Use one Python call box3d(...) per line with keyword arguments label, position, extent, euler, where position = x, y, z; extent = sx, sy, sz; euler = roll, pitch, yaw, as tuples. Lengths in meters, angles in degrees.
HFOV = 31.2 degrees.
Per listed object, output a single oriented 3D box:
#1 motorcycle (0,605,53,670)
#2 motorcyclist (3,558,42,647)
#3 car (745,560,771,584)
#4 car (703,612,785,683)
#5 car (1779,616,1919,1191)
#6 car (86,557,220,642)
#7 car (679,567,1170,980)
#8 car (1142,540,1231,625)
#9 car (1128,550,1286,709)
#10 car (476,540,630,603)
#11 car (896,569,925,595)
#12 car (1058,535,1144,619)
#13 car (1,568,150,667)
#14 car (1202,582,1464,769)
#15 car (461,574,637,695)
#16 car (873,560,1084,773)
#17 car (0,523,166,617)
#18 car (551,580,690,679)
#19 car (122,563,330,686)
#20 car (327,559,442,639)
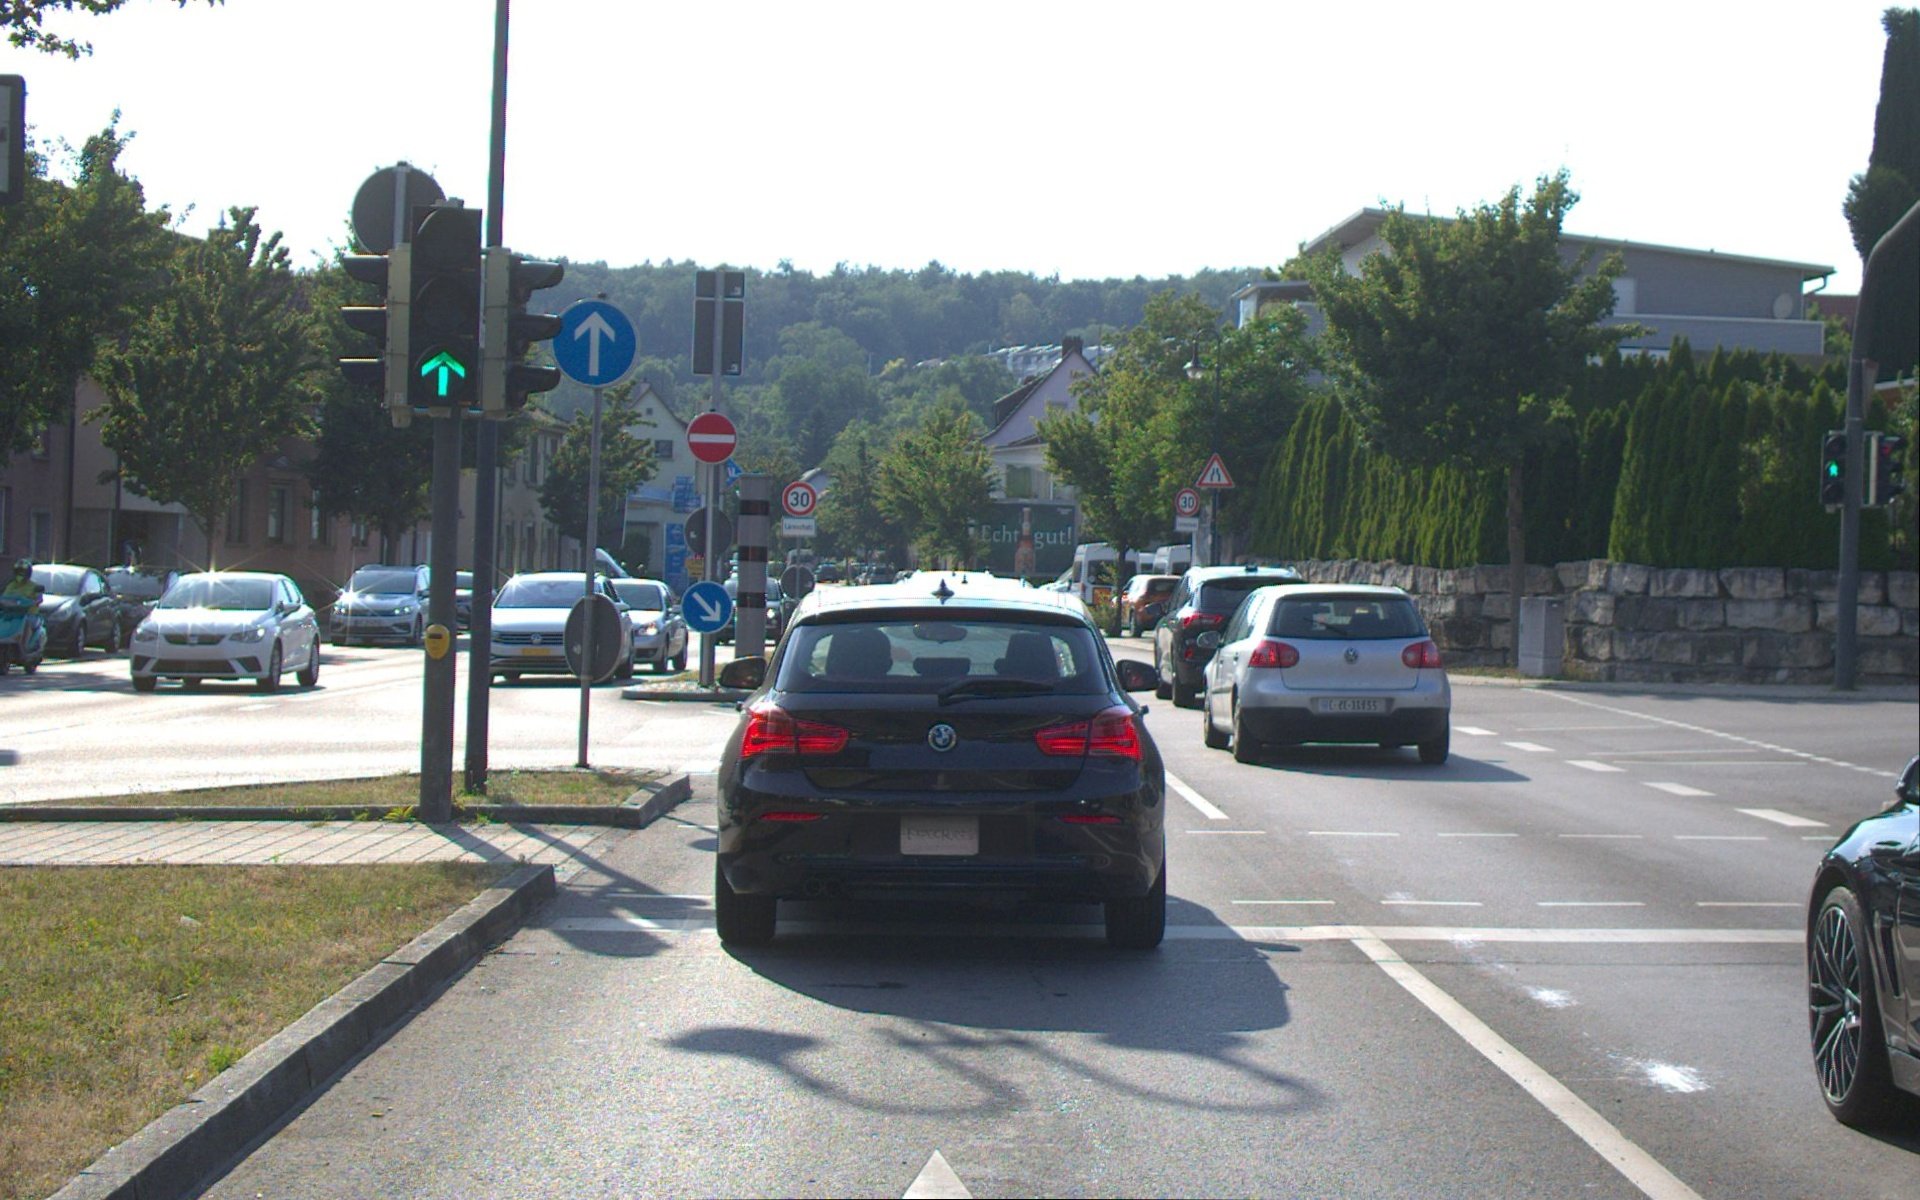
box3d(label="motorcycle", position=(-13.073, 0.513, 47.815), extent=(0.412, 0.857, 1.763), euler=(1, 1, 1))
box3d(label="motorcyclist", position=(-13.072, 0.036, 47.947), extent=(0.403, 1.224, 0.462), euler=(1, 1, 1))
box3d(label="car", position=(-13.008, -1.816, 221.758), extent=(1.596, 1.480, 3.475), euler=(2, 1, -3))
box3d(label="car", position=(-4.795, 1.038, 76.605), extent=(1.532, 1.457, 3.506), euler=(1, 1, 1))
box3d(label="car", position=(3.192, 0.766, 7.515), extent=(1.699, 1.364, 4.263), euler=(0, 1, -1))
box3d(label="car", position=(-14.950, -0.033, 63.824), extent=(1.618, 1.505, 4.133), euler=(1, 1, -2))
box3d(label="car", position=(-0.154, 0.622, 14.377), extent=(1.771, 1.451, 3.516), euler=(1, 1, -1))
box3d(label="car", position=(7.468, -0.614, 113.912), extent=(2.111, 2.712, 6.444), euler=(1, 1, -4))
box3d(label="car", position=(2.862, 0.309, 40.411), extent=(1.603, 1.761, 3.411), euler=(1, 1, 0))
box3d(label="car", position=(-16.966, -1.197, 143.590), extent=(6.158, 2.436, 2.249), euler=(2, 1, -1))
box3d(label="car", position=(-3.016, -1.076, 208.512), extent=(1.596, 1.480, 3.475), euler=(2, 1, -3))
box3d(label="car", position=(4.619, -0.791, 113.495), extent=(2.149, 2.671, 6.604), euler=(1, 1, -3))
box3d(label="car", position=(-14.857, 0.267, 57.907), extent=(1.512, 1.505, 3.886), euler=(3, 1, -1))
box3d(label="car", position=(3.058, 0.584, 28.768), extent=(1.753, 1.409, 3.422), euler=(1, 1, -1))
box3d(label="car", position=(-5.479, 0.428, 46.294), extent=(1.835, 1.483, 4.566), euler=(1, 1, 0))
box3d(label="car", position=(0.197, 0.487, 28.256), extent=(1.592, 1.595, 3.893), euler=(1, 1, 2))
box3d(label="car", position=(-19.612, -0.675, 75.506), extent=(3.821, 1.875, 1.779), euler=(3, 0, 2))
box3d(label="car", position=(-5.108, 0.428, 52.116), extent=(1.589, 1.422, 3.578), euler=(-1, 0, 2))
box3d(label="car", position=(-9.018, 0.265, 42.544), extent=(1.757, 1.406, 4.000), euler=(1, 1, -1))
box3d(label="car", position=(-12.070, -0.038, 72.325), extent=(1.685, 1.606, 4.413), euler=(1, 1, 0))
